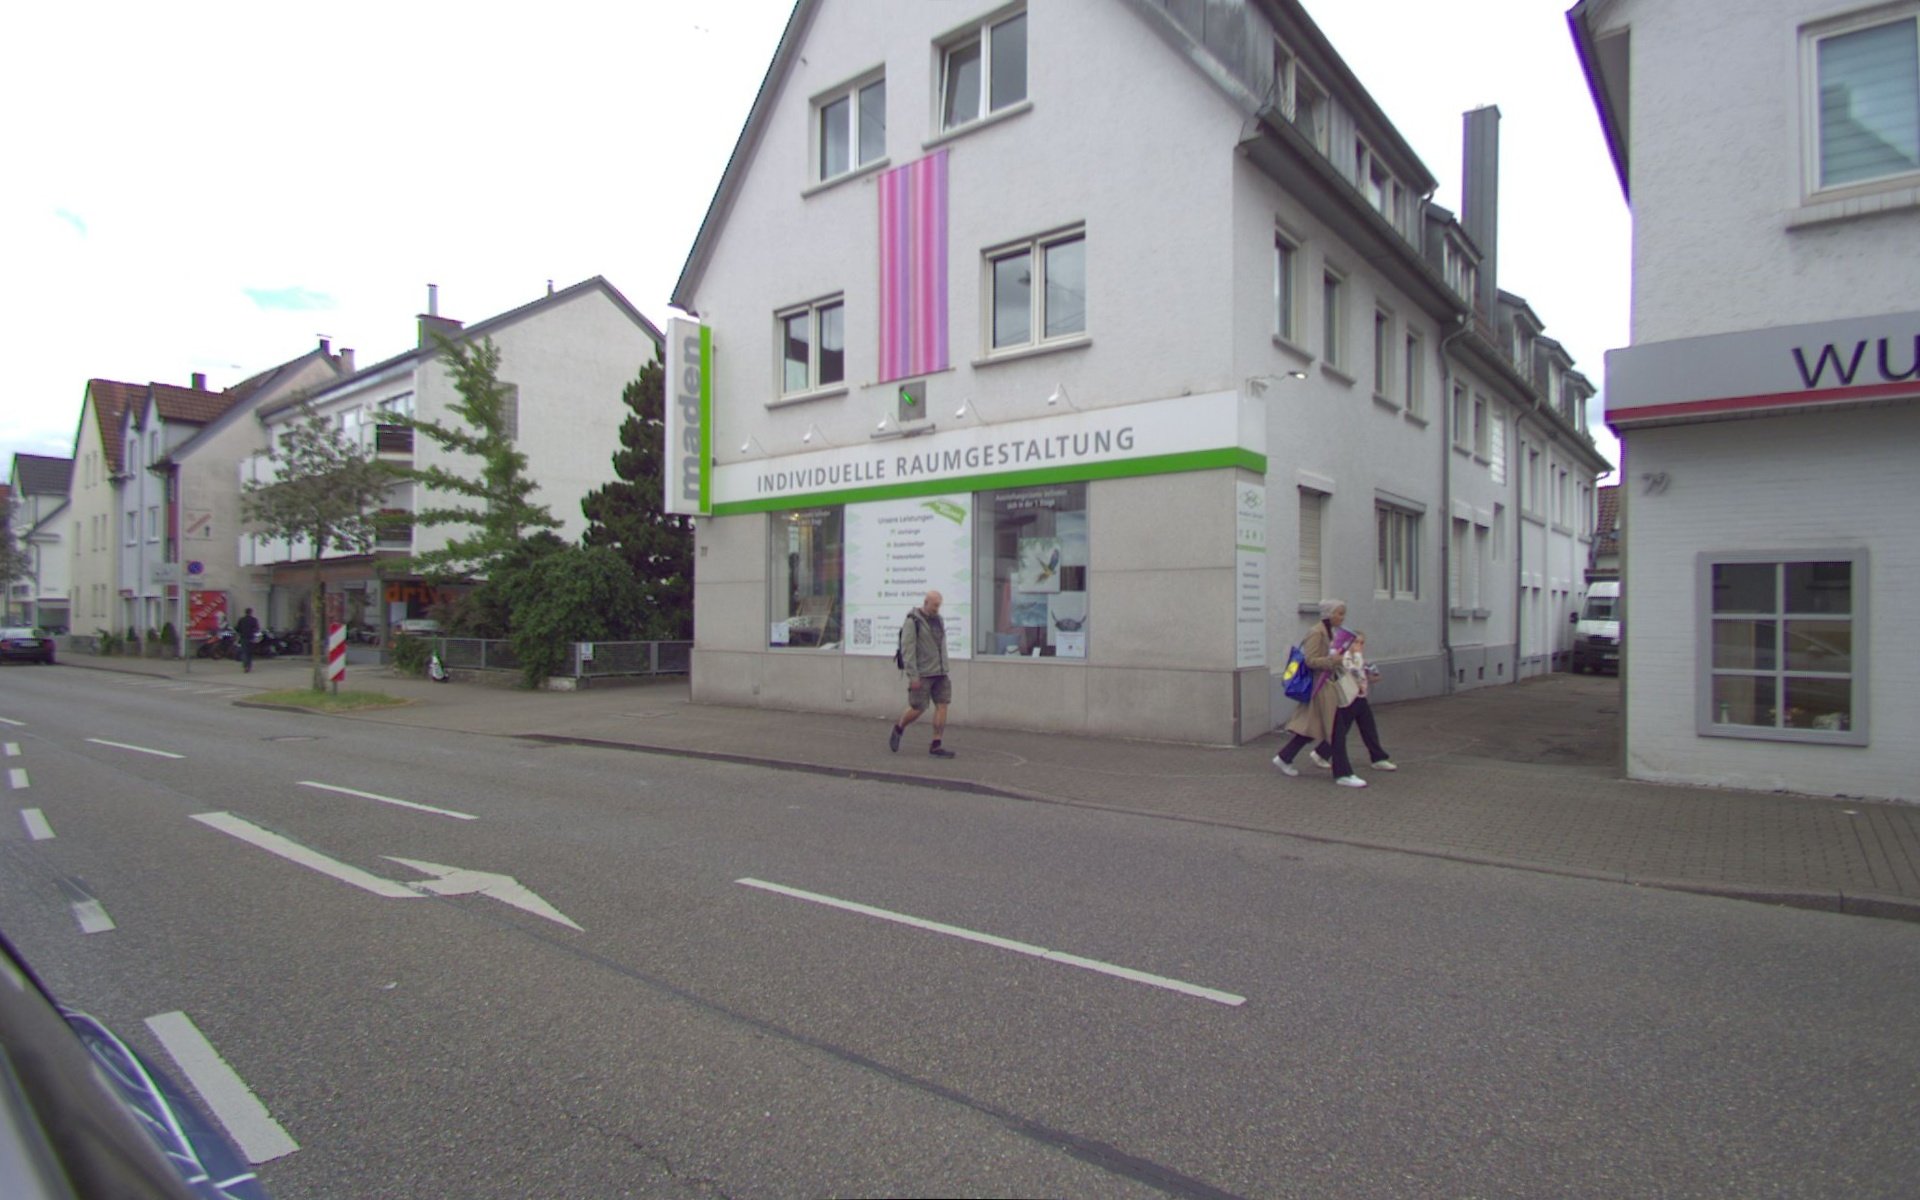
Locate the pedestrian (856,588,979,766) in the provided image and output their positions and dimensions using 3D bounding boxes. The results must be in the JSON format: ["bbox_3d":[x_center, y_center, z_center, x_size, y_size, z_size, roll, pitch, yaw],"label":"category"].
[{"bbox_3d":[-0.448,0.768,10.678,1.019,1.756,0.744,-1,1,40],"label":"pedestrian"}]

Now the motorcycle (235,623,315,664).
[{"bbox_3d":[-23.884,1.488,35.306,0.612,1.275,2.204,-1,1,38],"label":"motorcycle"}]

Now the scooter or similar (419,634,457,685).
[{"bbox_3d":[-11.788,1.329,22.851,1.179,1.120,0.336,-1,-1,41],"label":"scooter or similar"}]

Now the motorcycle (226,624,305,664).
[{"bbox_3d":[-24.573,1.529,35.853,0.612,1.275,2.204,-1,1,38],"label":"motorcycle"}]

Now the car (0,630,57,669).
[{"bbox_3d":[-35.864,1.840,38.366,4.337,1.428,1.770,-1,-2,39],"label":"car"}]

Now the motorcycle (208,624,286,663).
[{"bbox_3d":[-25.945,1.565,36.870,0.698,1.275,2.204,-1,1,38],"label":"motorcycle"}]

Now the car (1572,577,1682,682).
[{"bbox_3d":[18.370,0.706,27.724,1.957,2.527,5.918,2,1,38],"label":"car"}]

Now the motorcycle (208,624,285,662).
[{"bbox_3d":[-26.443,1.567,37.534,0.612,1.275,2.204,-1,1,38],"label":"motorcycle"}]

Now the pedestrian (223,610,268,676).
[{"bbox_3d":[-20.835,1.236,29.516,1.019,1.863,0.744,-1,2,40],"label":"pedestrian"}]

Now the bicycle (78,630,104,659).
[{"bbox_3d":[-37.453,1.909,43.623,2.022,1.205,0.509,-1,-1,39],"label":"bicycle"}]

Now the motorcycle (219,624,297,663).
[{"bbox_3d":[-25.236,1.542,36.409,0.612,1.275,2.204,-1,1,38],"label":"motorcycle"}]

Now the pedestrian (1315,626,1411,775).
[{"bbox_3d":[3.740,0.897,9.383,0.654,1.289,0.593,-1,0,40],"label":"pedestrian"}]

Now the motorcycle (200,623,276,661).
[{"bbox_3d":[-27.060,1.572,37.943,0.612,1.275,2.204,-1,1,38],"label":"motorcycle"}]

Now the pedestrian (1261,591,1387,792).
[{"bbox_3d":[3.189,0.756,8.863,0.792,1.629,0.744,-1,2,40],"label":"pedestrian"}]
